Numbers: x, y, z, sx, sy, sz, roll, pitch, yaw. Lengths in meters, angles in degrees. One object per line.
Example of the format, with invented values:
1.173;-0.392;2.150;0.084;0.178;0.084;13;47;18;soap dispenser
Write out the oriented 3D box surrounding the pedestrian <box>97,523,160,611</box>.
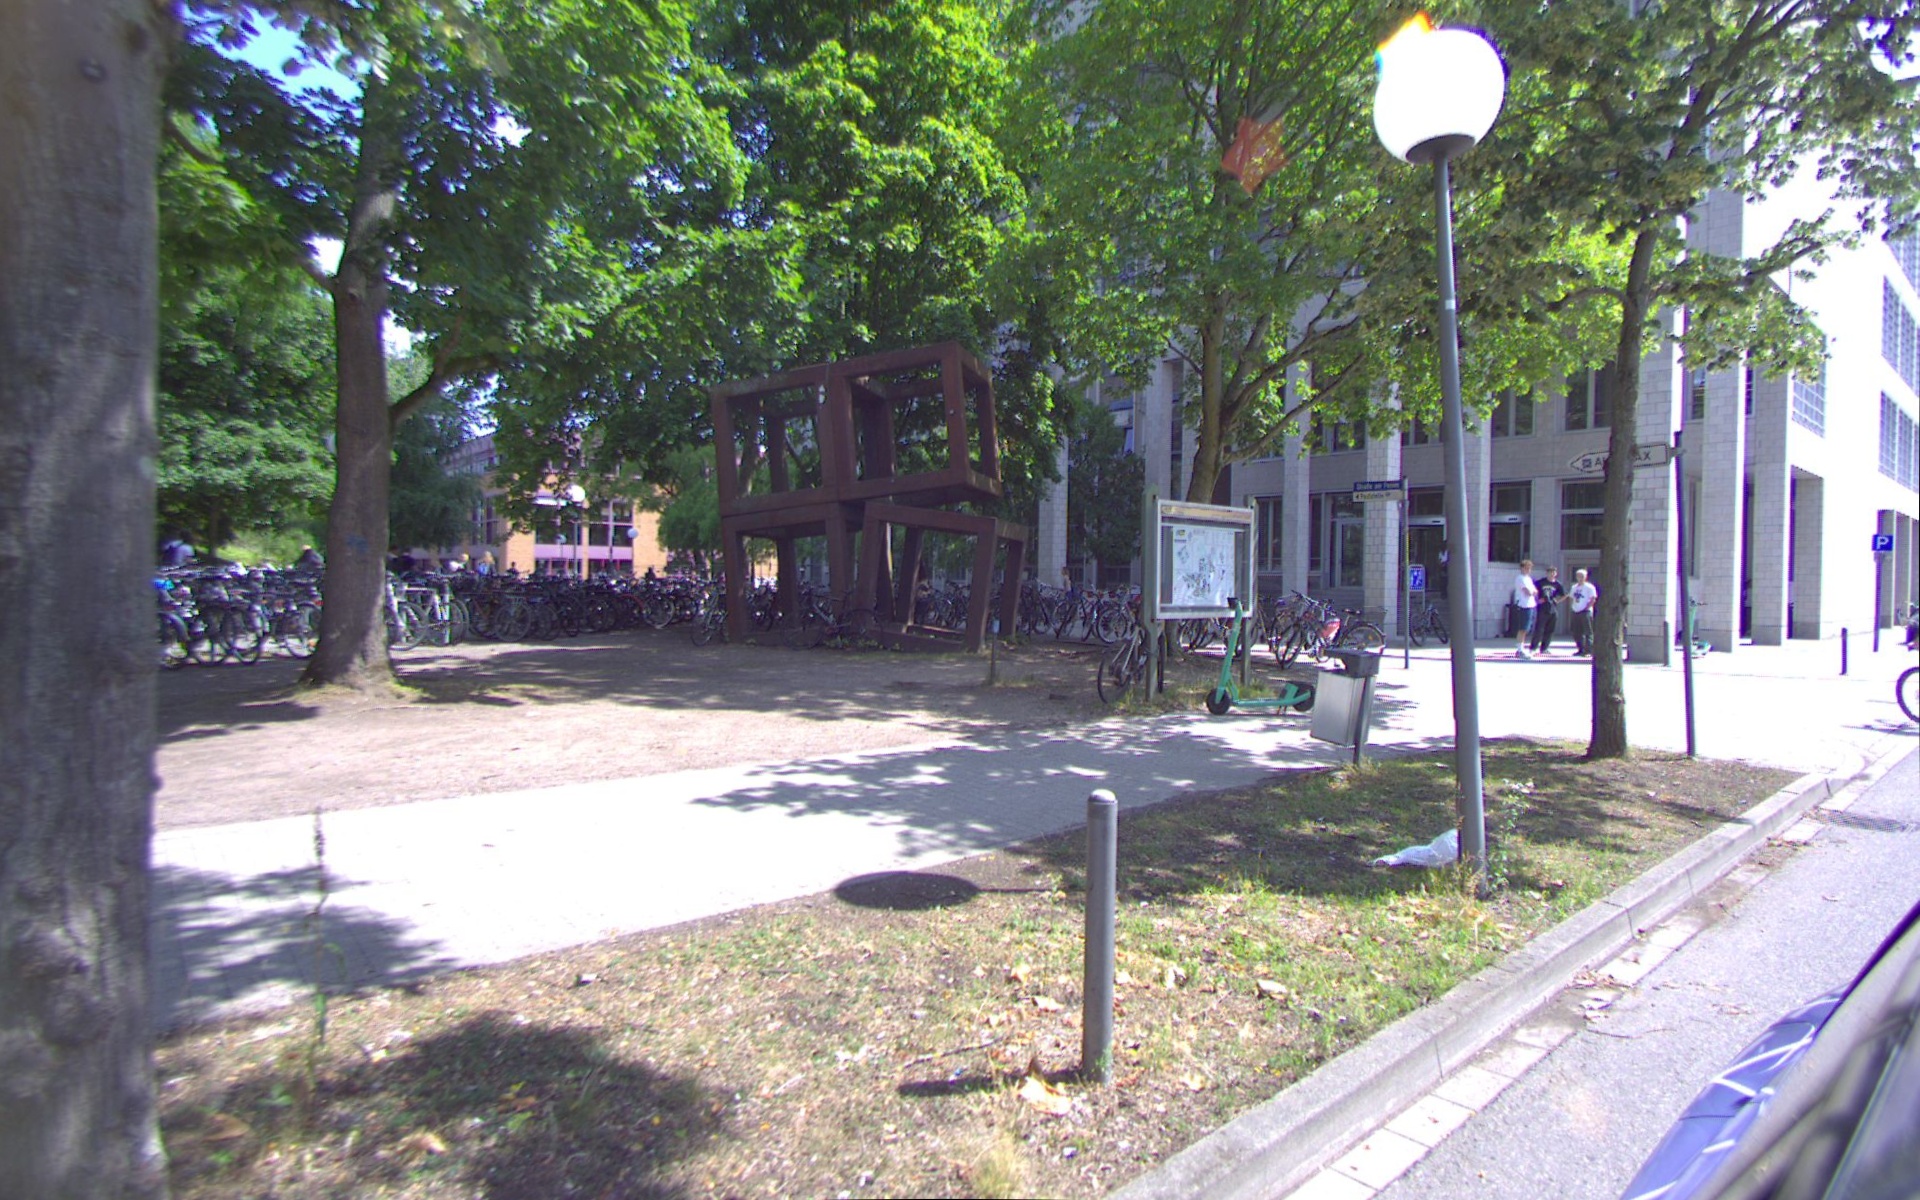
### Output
-17.578;-0.690;21.413;0.730;1.797;0.721;2;1;-3;pedestrian

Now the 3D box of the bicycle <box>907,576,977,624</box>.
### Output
-0.402;0.011;23.162;0.616;1.061;1.661;-1;-2;44;bicycle

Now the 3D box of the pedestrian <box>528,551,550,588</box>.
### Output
-18.129;-1.311;43.532;0.730;1.589;0.721;1;1;-33;pedestrian

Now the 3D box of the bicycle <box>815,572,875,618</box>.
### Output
-2.963;-0.113;26.203;0.453;1.144;1.661;-1;-2;44;bicycle

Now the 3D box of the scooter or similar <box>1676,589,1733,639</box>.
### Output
19.666;0.354;26.772;0.555;1.226;1.507;0;3;9;scooter or similar

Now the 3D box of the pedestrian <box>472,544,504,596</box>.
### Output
-16.812;-1.081;36.084;0.732;1.812;0.720;2;1;6;pedestrian

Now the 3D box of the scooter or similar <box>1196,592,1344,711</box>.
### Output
3.128;0.516;10.226;1.333;1.128;0.498;2;1;-16;scooter or similar

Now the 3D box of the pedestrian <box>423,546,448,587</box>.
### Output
-20.449;-1.300;39.460;0.679;1.530;0.514;4;3;6;pedestrian

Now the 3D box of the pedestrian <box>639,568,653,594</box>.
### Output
-17.916;-1.097;57.764;0.445;1.446;0.594;4;3;11;pedestrian

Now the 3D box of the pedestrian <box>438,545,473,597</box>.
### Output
-15.818;-0.915;31.712;0.730;1.589;0.721;2;1;-3;pedestrian

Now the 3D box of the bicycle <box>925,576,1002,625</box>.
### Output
0.081;0.030;22.607;1.663;1.061;0.618;1;-2;-33;bicycle

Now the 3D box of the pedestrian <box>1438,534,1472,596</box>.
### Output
14.405;-1.012;29.457;0.688;1.756;0.674;2;1;44;pedestrian

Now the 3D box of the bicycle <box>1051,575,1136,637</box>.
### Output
2.634;0.129;19.927;1.664;1.139;0.566;2;2;-36;bicycle

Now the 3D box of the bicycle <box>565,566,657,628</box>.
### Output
-7.141;-0.072;20.707;1.818;1.185;0.434;2;1;15;bicycle

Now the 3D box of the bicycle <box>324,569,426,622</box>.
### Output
-11.810;-0.093;20.449;1.871;0.991;0.478;2;2;7;bicycle

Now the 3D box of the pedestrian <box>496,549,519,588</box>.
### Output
-18.624;-1.285;41.677;0.730;1.589;0.721;1;1;-33;pedestrian

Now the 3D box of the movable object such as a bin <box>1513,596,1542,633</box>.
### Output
15.548;0.384;27.735;0.503;0.961;0.513;1;3;-42;movable object such as a bin

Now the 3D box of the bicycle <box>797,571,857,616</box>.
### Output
-3.468;-0.161;26.513;0.453;1.144;1.661;-1;-2;44;bicycle

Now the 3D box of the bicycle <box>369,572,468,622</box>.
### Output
-11.615;-0.068;21.725;1.868;0.991;0.479;2;2;1;bicycle

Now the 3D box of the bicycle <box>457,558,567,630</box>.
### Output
-7.794;-0.108;17.610;1.816;1.185;0.412;2;1;11;bicycle

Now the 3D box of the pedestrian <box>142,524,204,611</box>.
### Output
-16.670;-0.687;21.444;0.730;1.797;0.721;2;1;-3;pedestrian

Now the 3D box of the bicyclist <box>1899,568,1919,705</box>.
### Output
11.393;0.436;11.303;0.821;1.562;0.961;2;0;-8;bicyclist

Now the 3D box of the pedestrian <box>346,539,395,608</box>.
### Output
-15.828;-0.705;27.213;0.824;1.797;0.994;1;1;-11;pedestrian

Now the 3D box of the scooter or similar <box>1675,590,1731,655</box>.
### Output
15.033;0.435;20.457;1.485;1.226;0.564;-1;4;-42;scooter or similar

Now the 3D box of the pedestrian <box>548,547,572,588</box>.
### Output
-15.519;-1.256;39.262;0.730;1.589;0.721;1;1;-33;pedestrian

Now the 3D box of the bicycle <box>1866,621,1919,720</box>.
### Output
11.401;0.850;11.235;0.802;1.054;1.935;-2;3;-7;bicycle

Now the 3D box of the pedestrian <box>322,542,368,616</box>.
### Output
-15.324;-0.530;25.230;0.729;1.797;0.722;1;1;-10;pedestrian

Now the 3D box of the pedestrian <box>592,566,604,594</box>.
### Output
-15.805;-0.865;44.209;0.379;1.227;0.403;1;1;-33;pedestrian

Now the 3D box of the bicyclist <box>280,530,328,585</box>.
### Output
-17.943;-1.143;27.682;0.732;1.464;0.802;2;1;6;bicyclist

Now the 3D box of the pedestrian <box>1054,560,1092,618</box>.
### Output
3.467;-0.345;31.002;0.930;1.762;0.741;1;1;30;pedestrian

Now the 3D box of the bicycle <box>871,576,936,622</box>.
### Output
-1.329;-0.008;24.075;0.499;1.061;1.661;-1;-2;44;bicycle

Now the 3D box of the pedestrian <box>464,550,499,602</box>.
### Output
-14.983;-0.754;31.705;0.731;1.589;0.721;2;1;1;pedestrian

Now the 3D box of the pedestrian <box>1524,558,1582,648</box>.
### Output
12.228;0.060;20.888;0.796;1.819;0.619;1;1;6;pedestrian

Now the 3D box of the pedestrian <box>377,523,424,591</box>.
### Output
-15.118;-1.152;27.367;0.837;1.797;0.813;1;1;-9;pedestrian

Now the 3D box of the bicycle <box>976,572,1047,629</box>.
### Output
1.111;0.017;21.550;0.625;1.165;1.671;-1;-2;41;bicycle

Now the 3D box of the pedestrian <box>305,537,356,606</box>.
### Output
-16.828;-0.759;27.092;0.824;1.797;0.994;1;1;-11;pedestrian

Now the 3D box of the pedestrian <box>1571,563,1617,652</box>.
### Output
12.734;0.132;20.338;0.533;1.750;0.613;0;2;-39;pedestrian

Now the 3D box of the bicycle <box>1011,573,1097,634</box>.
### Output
1.904;0.077;20.400;1.664;1.139;0.628;2;2;-36;bicycle

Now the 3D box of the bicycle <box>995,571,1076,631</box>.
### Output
1.588;0.035;21.064;1.665;1.164;0.627;2;2;-39;bicycle

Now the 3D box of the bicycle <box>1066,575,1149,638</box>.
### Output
2.841;0.138;19.437;1.664;1.139;0.482;2;2;-36;bicycle

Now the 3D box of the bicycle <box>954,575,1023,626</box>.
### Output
0.632;0.025;22.011;0.566;1.061;1.671;-1;-2;41;bicycle

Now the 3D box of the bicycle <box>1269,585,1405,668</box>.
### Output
5.565;0.388;14.965;1.750;1.155;0.607;1;3;-8;bicycle

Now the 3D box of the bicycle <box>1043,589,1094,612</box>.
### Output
4.182;0.015;39.119;0.633;0.769;1.986;2;1;-43;bicycle

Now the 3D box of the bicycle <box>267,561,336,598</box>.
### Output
-17.938;-0.573;27.600;0.576;0.942;1.750;4;3;6;bicycle

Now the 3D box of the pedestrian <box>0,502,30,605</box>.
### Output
-17.059;-0.816;17.827;0.735;1.797;0.717;2;1;18;pedestrian

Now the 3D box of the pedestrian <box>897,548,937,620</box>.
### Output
-1.054;-0.372;24.640;0.427;1.724;0.929;0;-1;45;pedestrian

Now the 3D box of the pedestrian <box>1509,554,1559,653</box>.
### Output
11.384;0.049;20.075;0.675;1.914;0.686;-1;1;-43;pedestrian

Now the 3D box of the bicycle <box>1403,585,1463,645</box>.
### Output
10.549;0.314;22.531;1.798;1.257;0.531;-1;2;-42;bicycle

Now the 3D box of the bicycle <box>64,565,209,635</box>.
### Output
-12.345;-0.002;15.181;1.867;0.991;0.379;2;2;0;bicycle

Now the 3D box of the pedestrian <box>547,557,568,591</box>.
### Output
-18.301;-1.191;46.047;0.679;1.530;0.514;4;3;6;pedestrian

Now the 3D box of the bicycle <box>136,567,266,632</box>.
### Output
-12.337;-0.021;16.470;1.868;0.991;0.378;2;2;2;bicycle

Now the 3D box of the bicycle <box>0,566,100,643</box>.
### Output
-12.879;0.043;14.190;1.880;0.991;0.376;2;2;20;bicycle

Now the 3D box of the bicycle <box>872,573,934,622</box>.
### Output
-1.388;-0.046;24.821;0.453;1.144;1.661;-1;-2;44;bicycle

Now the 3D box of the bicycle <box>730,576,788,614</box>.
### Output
-5.859;-0.132;29.549;0.477;1.098;1.661;-1;-2;45;bicycle

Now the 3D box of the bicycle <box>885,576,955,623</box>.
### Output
-0.924;0.004;23.659;0.616;1.061;1.661;-1;-2;44;bicycle

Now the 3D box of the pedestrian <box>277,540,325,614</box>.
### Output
-16.322;-0.573;25.077;0.729;1.797;0.722;1;1;-9;pedestrian
